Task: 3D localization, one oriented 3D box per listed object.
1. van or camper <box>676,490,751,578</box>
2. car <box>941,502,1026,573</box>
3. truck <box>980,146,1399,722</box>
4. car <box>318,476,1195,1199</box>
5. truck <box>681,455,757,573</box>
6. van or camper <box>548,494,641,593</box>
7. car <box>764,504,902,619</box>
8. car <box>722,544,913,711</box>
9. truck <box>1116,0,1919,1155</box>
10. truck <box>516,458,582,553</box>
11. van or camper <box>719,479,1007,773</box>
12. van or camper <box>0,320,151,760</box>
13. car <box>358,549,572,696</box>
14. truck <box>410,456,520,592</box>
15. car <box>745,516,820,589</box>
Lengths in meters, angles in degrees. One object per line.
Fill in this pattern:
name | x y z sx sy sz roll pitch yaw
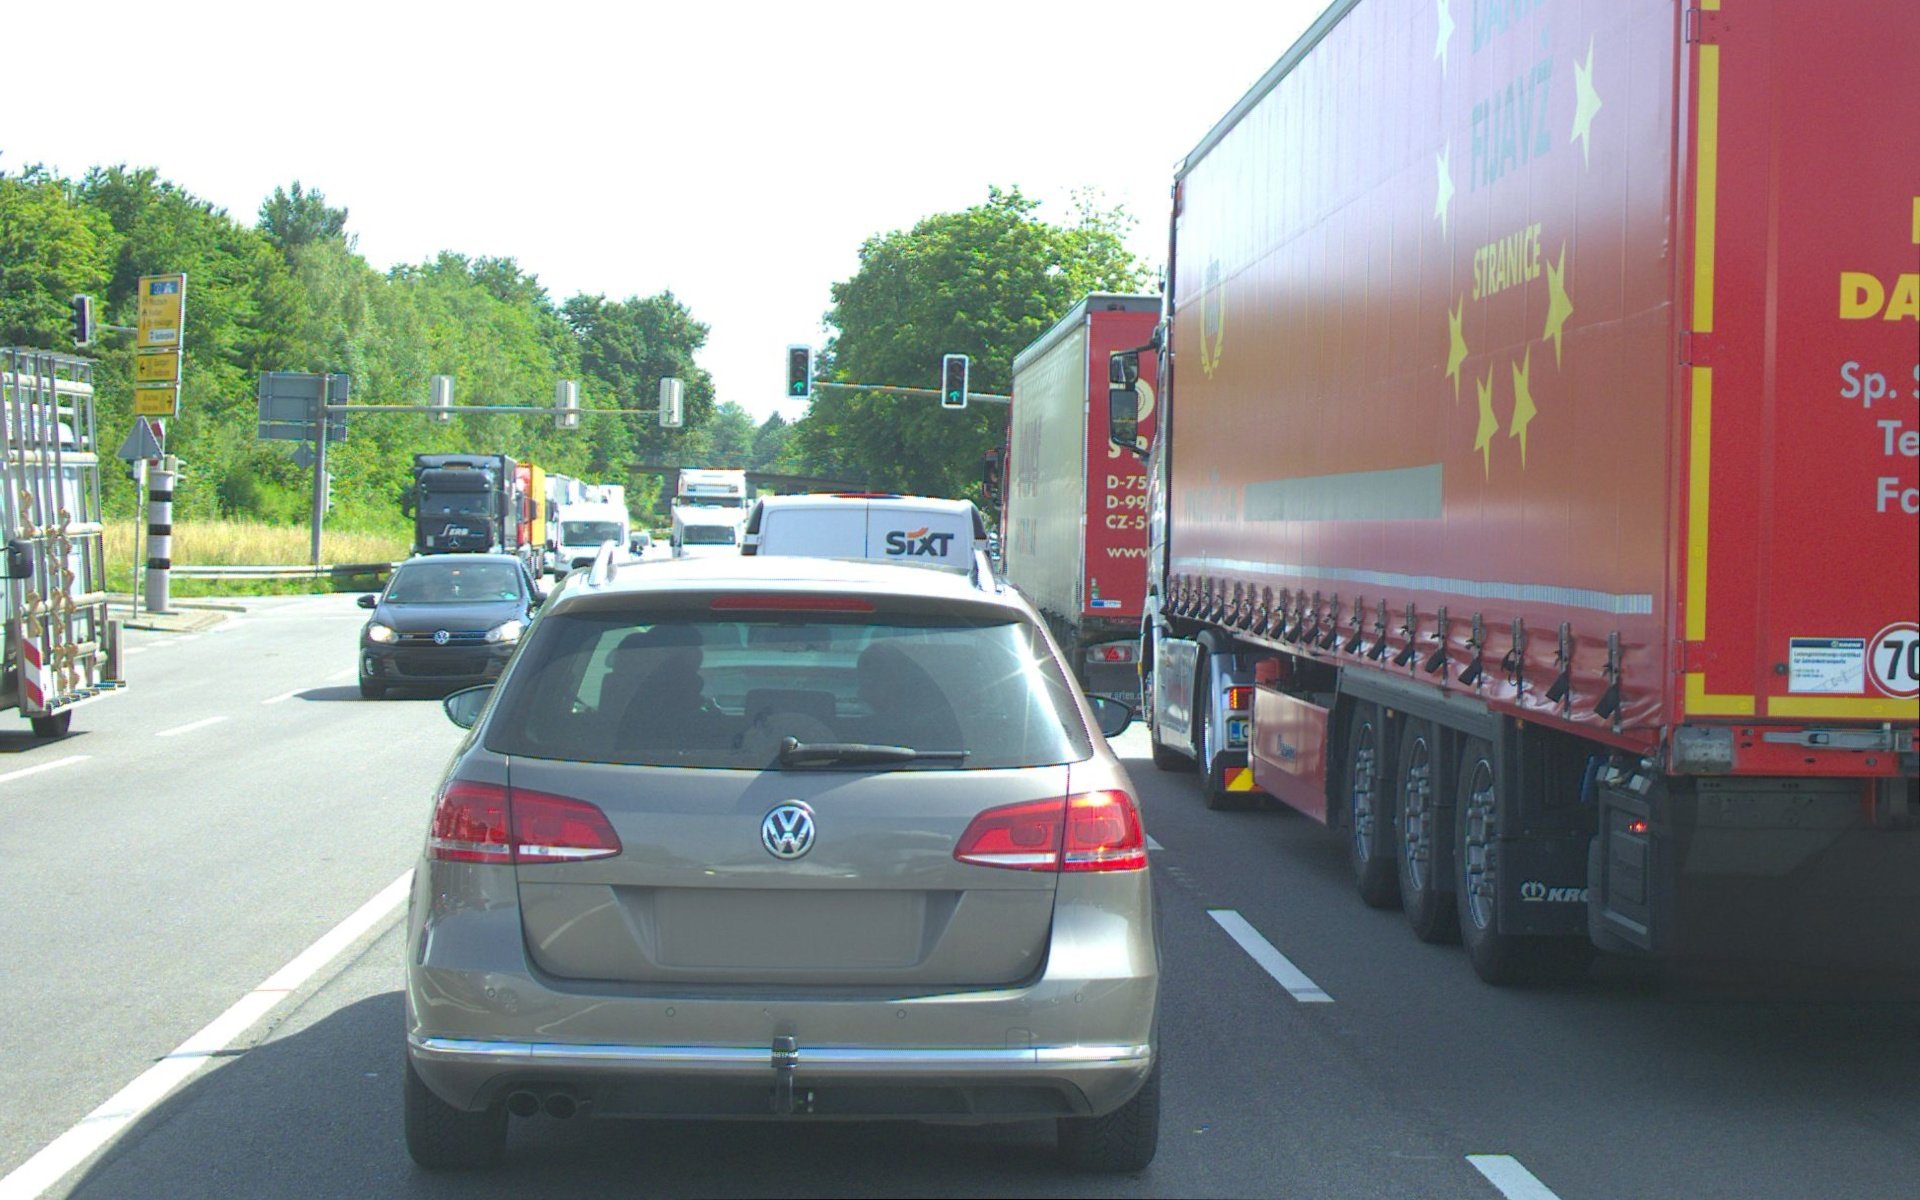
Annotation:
van or camper | -8.222 -2.166 114.947 2.224 2.831 5.711 1 0 -2
car | 0.510 -1.400 77.601 1.726 1.514 3.312 2 0 -2
truck | 2.151 -1.678 39.974 3.062 5.203 17.009 1 1 -2
car | -0.378 0.544 8.780 1.790 1.633 3.503 0 1 1
truck | -9.044 -3.223 129.708 2.552 4.292 7.596 0 1 -2
van or camper | -9.741 -1.509 91.872 2.173 2.542 4.171 1 1 -2
car | -1.743 -0.533 48.125 1.727 1.514 3.312 1 0 1
car | -1.354 0.245 33.730 1.727 1.514 3.312 1 0 -1
truck | 2.947 -0.863 17.019 2.957 4.255 16.586 1 1 -2
truck | -16.840 -3.848 141.206 2.532 3.773 6.991 -1 1 -6
van or camper | -0.718 0.137 24.550 1.852 1.899 3.785 1 1 -2
van or camper | -7.771 -0.467 25.402 2.207 3.045 5.903 1 1 -1
car | -5.068 0.193 35.606 1.666 1.404 3.926 -1 1 -1
truck | -14.265 -2.197 99.481 2.812 3.773 6.991 -1 1 -6
car | -4.761 -1.258 92.471 1.727 1.902 3.312 1 0 1
